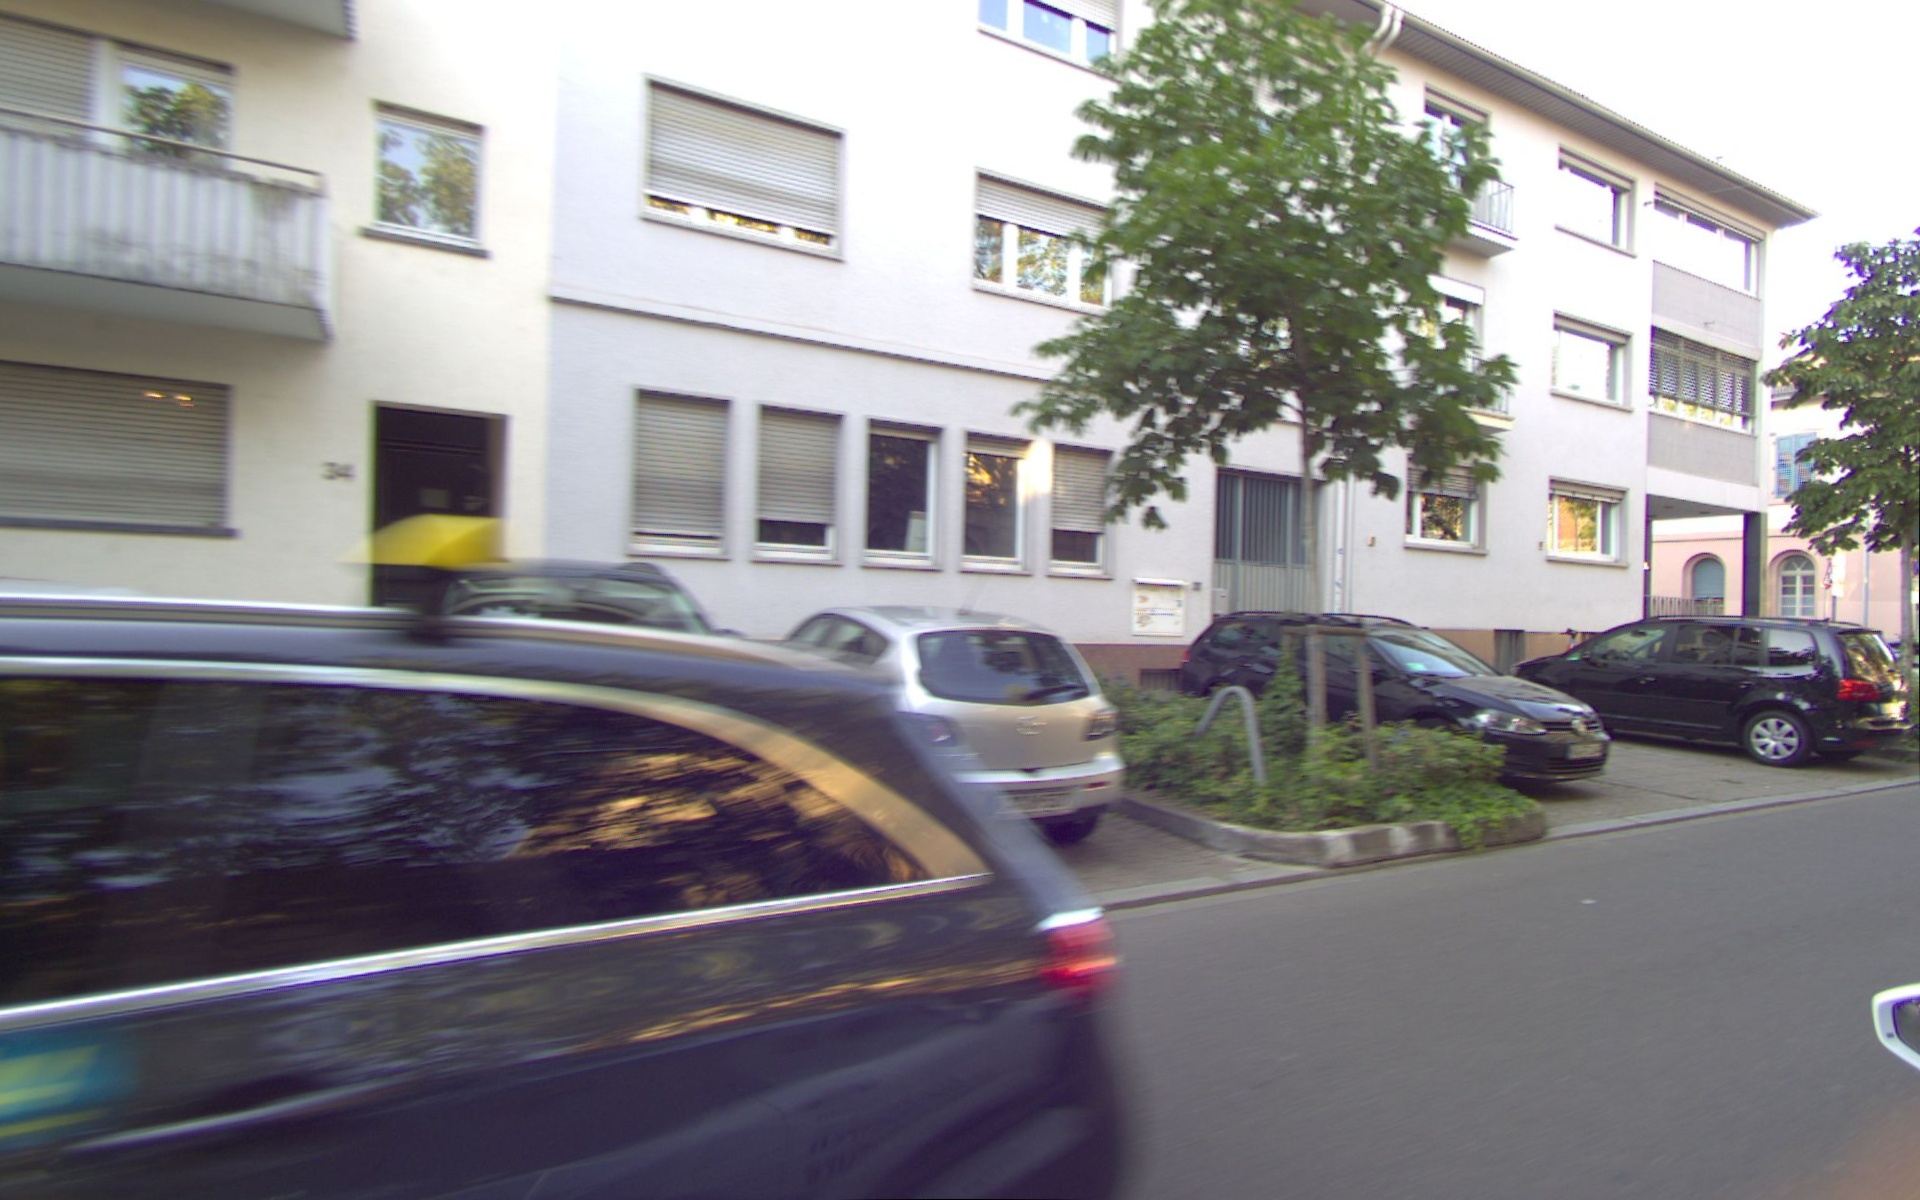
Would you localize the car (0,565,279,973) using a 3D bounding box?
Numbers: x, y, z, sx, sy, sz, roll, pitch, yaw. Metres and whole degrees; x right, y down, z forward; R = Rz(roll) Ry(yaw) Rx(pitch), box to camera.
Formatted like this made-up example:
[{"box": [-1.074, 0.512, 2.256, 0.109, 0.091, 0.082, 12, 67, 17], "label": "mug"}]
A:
[{"box": [-4.771, 0.565, 5.063, 1.832, 1.470, 3.828, 1, 1, -29], "label": "car"}]

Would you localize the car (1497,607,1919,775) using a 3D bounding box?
[{"box": [9.311, 0.981, 12.681, 1.912, 1.654, 4.077, 2, 0, -28], "label": "car"}]

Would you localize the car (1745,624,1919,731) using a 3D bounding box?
[{"box": [14.838, 1.222, 15.639, 1.714, 1.478, 3.723, 2, 1, -30], "label": "car"}]

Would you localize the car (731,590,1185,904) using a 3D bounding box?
[{"box": [-0.342, 0.760, 7.342, 1.756, 1.514, 4.016, 2, 1, -25], "label": "car"}]

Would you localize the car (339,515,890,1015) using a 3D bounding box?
[{"box": [-2.399, 0.571, 6.152, 2.131, 1.789, 4.644, 2, 0, -29], "label": "car"}]

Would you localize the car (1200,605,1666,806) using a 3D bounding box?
[{"box": [4.503, 0.883, 10.254, 1.733, 1.459, 4.058, 2, 1, -28], "label": "car"}]

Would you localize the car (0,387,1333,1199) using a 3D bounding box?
[{"box": [-1.784, 0.640, 1.400, 4.592, 1.662, 1.868, 2, -1, -31], "label": "car"}]

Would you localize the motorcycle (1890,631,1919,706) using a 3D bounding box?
[{"box": [18.992, 1.321, 18.838, 0.950, 1.438, 2.152, 2, -1, -8], "label": "motorcycle"}]
